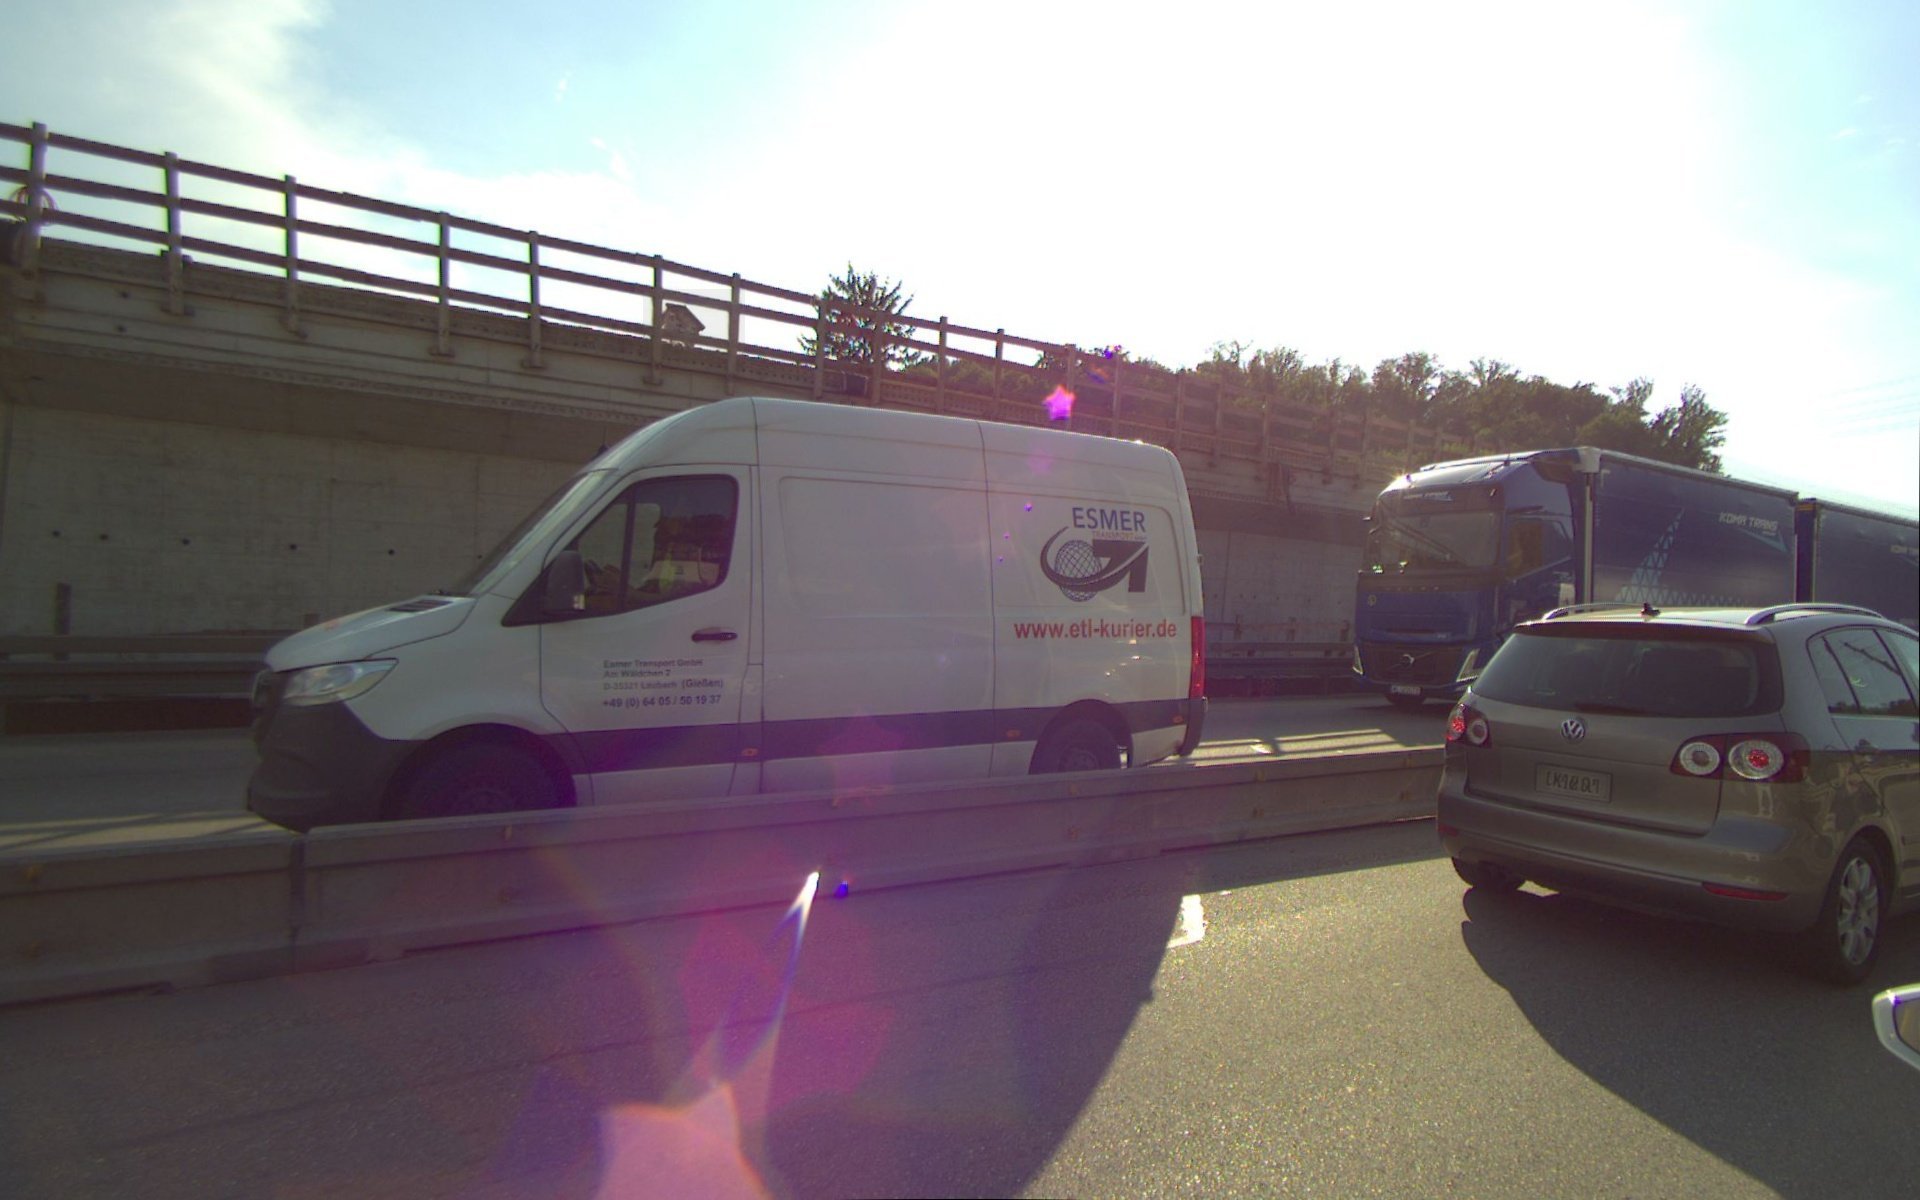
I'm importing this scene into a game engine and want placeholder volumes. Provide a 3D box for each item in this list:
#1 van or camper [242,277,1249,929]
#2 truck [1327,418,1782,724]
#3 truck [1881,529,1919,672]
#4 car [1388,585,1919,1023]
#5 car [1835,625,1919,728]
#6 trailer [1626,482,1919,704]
[{"bbox_3d":[-0.957,0.085,6.601,5.888,2.742,1.983,2,0,-31],"label":"van or camper"},{"bbox_3d":[10.576,-0.277,17.334,9.519,4.167,2.610,2,0,-32],"label":"truck"},{"bbox_3d":[30.881,0.183,30.344,6.136,4.147,2.694,3,3,-32],"label":"truck"},{"bbox_3d":[4.460,0.784,5.518,4.221,1.610,1.672,1,1,-30],"label":"car"},{"bbox_3d":[16.980,1.328,17.090,4.350,1.557,1.764,3,1,-30],"label":"car"},{"bbox_3d":[18.654,-0.018,22.440,9.520,4.167,2.592,2,-1,-32],"label":"trailer"}]
